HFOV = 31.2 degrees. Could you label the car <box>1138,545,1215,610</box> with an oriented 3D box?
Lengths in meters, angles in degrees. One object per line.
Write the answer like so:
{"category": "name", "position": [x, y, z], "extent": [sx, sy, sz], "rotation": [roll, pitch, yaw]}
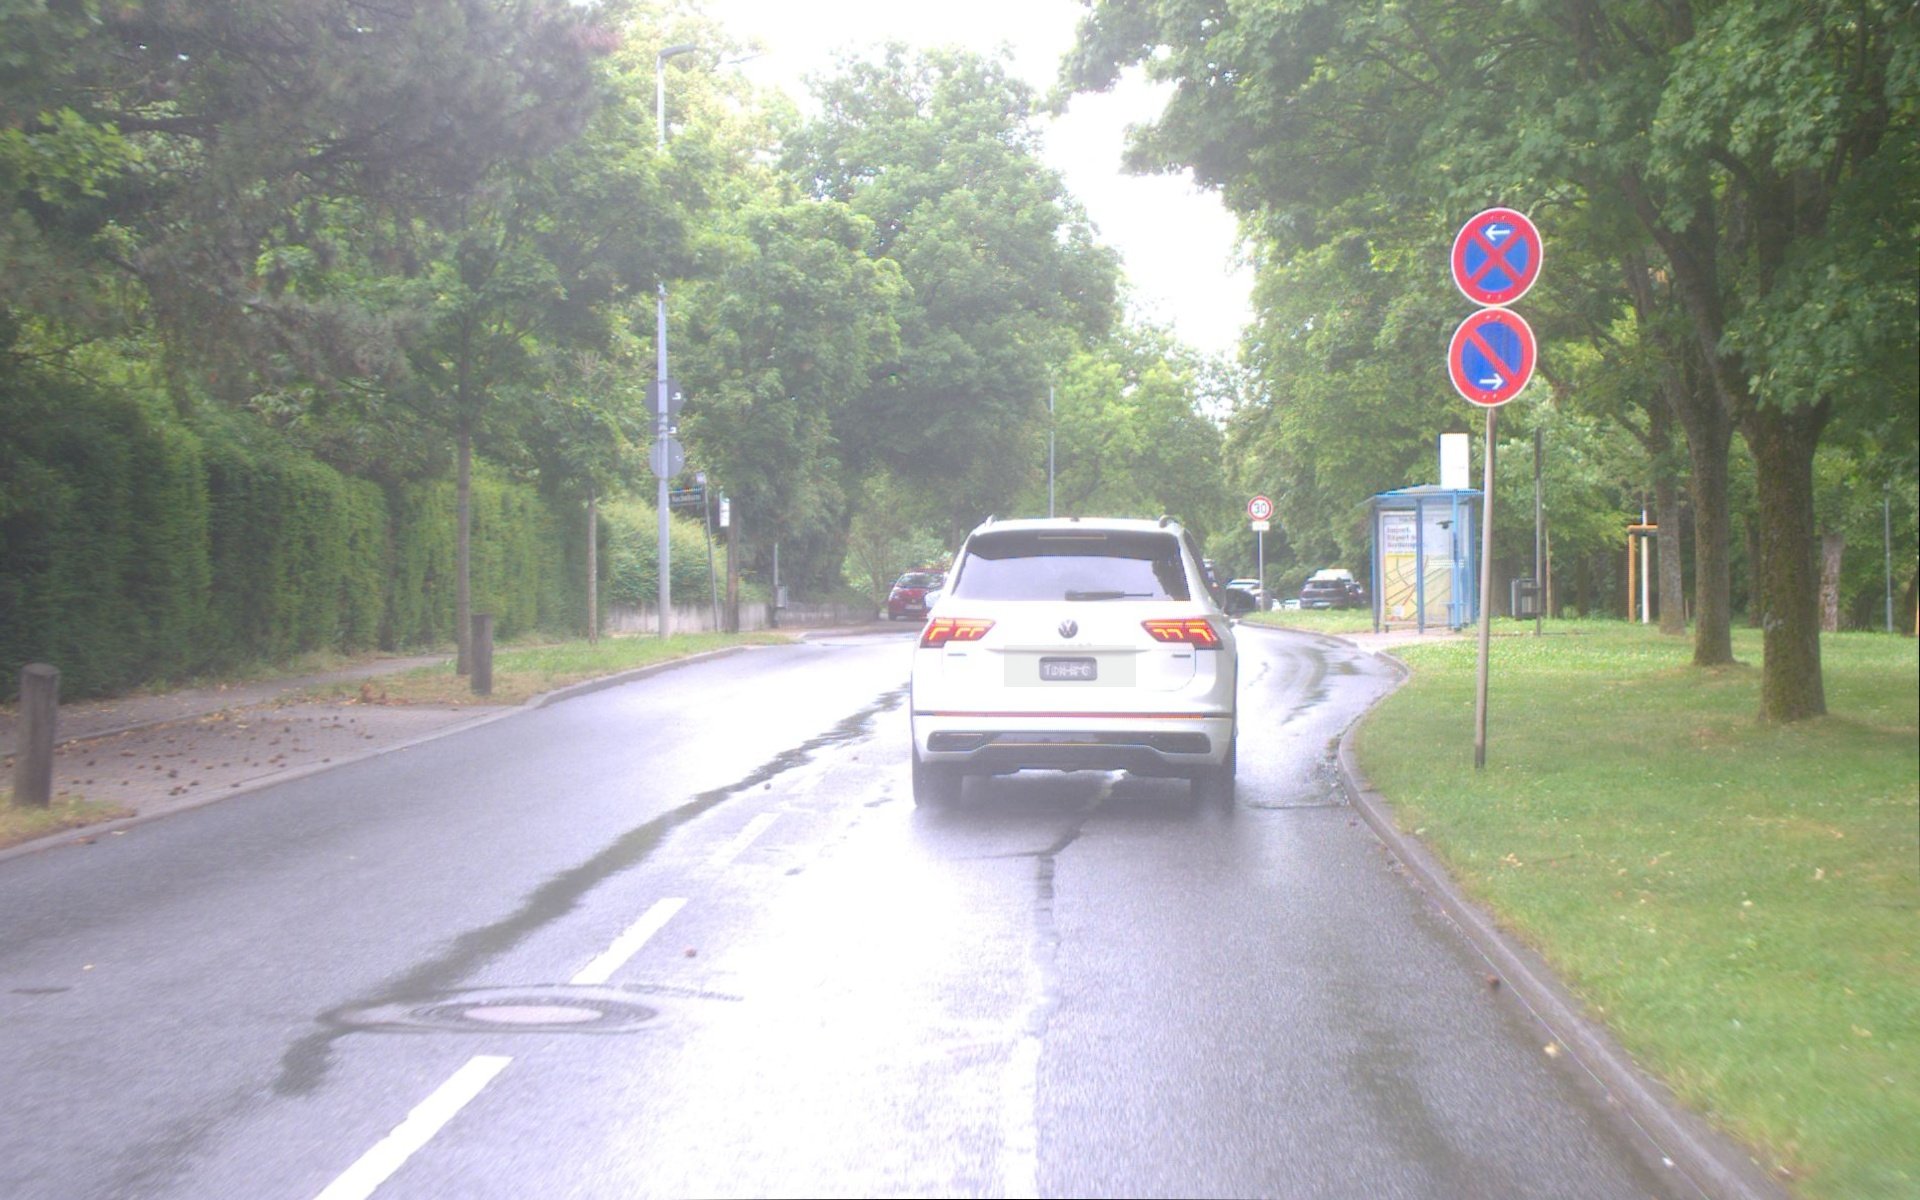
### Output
{"category": "car", "position": [6.230, -0.636, 99.325], "extent": [1.993, 1.753, 4.000], "rotation": [2, -1, 1]}

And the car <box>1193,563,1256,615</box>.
{"category": "car", "position": [9.699, -0.392, 126.229], "extent": [1.993, 1.798, 4.000], "rotation": [2, -1, 1]}

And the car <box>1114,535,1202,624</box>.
{"category": "car", "position": [4.707, -0.464, 82.118], "extent": [1.901, 2.007, 3.944], "rotation": [2, -1, 1]}

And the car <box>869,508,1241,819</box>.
{"category": "car", "position": [0.612, 0.311, 20.500], "extent": [1.974, 1.647, 4.177], "rotation": [1, 1, 3]}

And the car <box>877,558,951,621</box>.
{"category": "car", "position": [-1.352, -0.307, 102.948], "extent": [1.993, 1.757, 4.000], "rotation": [2, -1, 1]}
